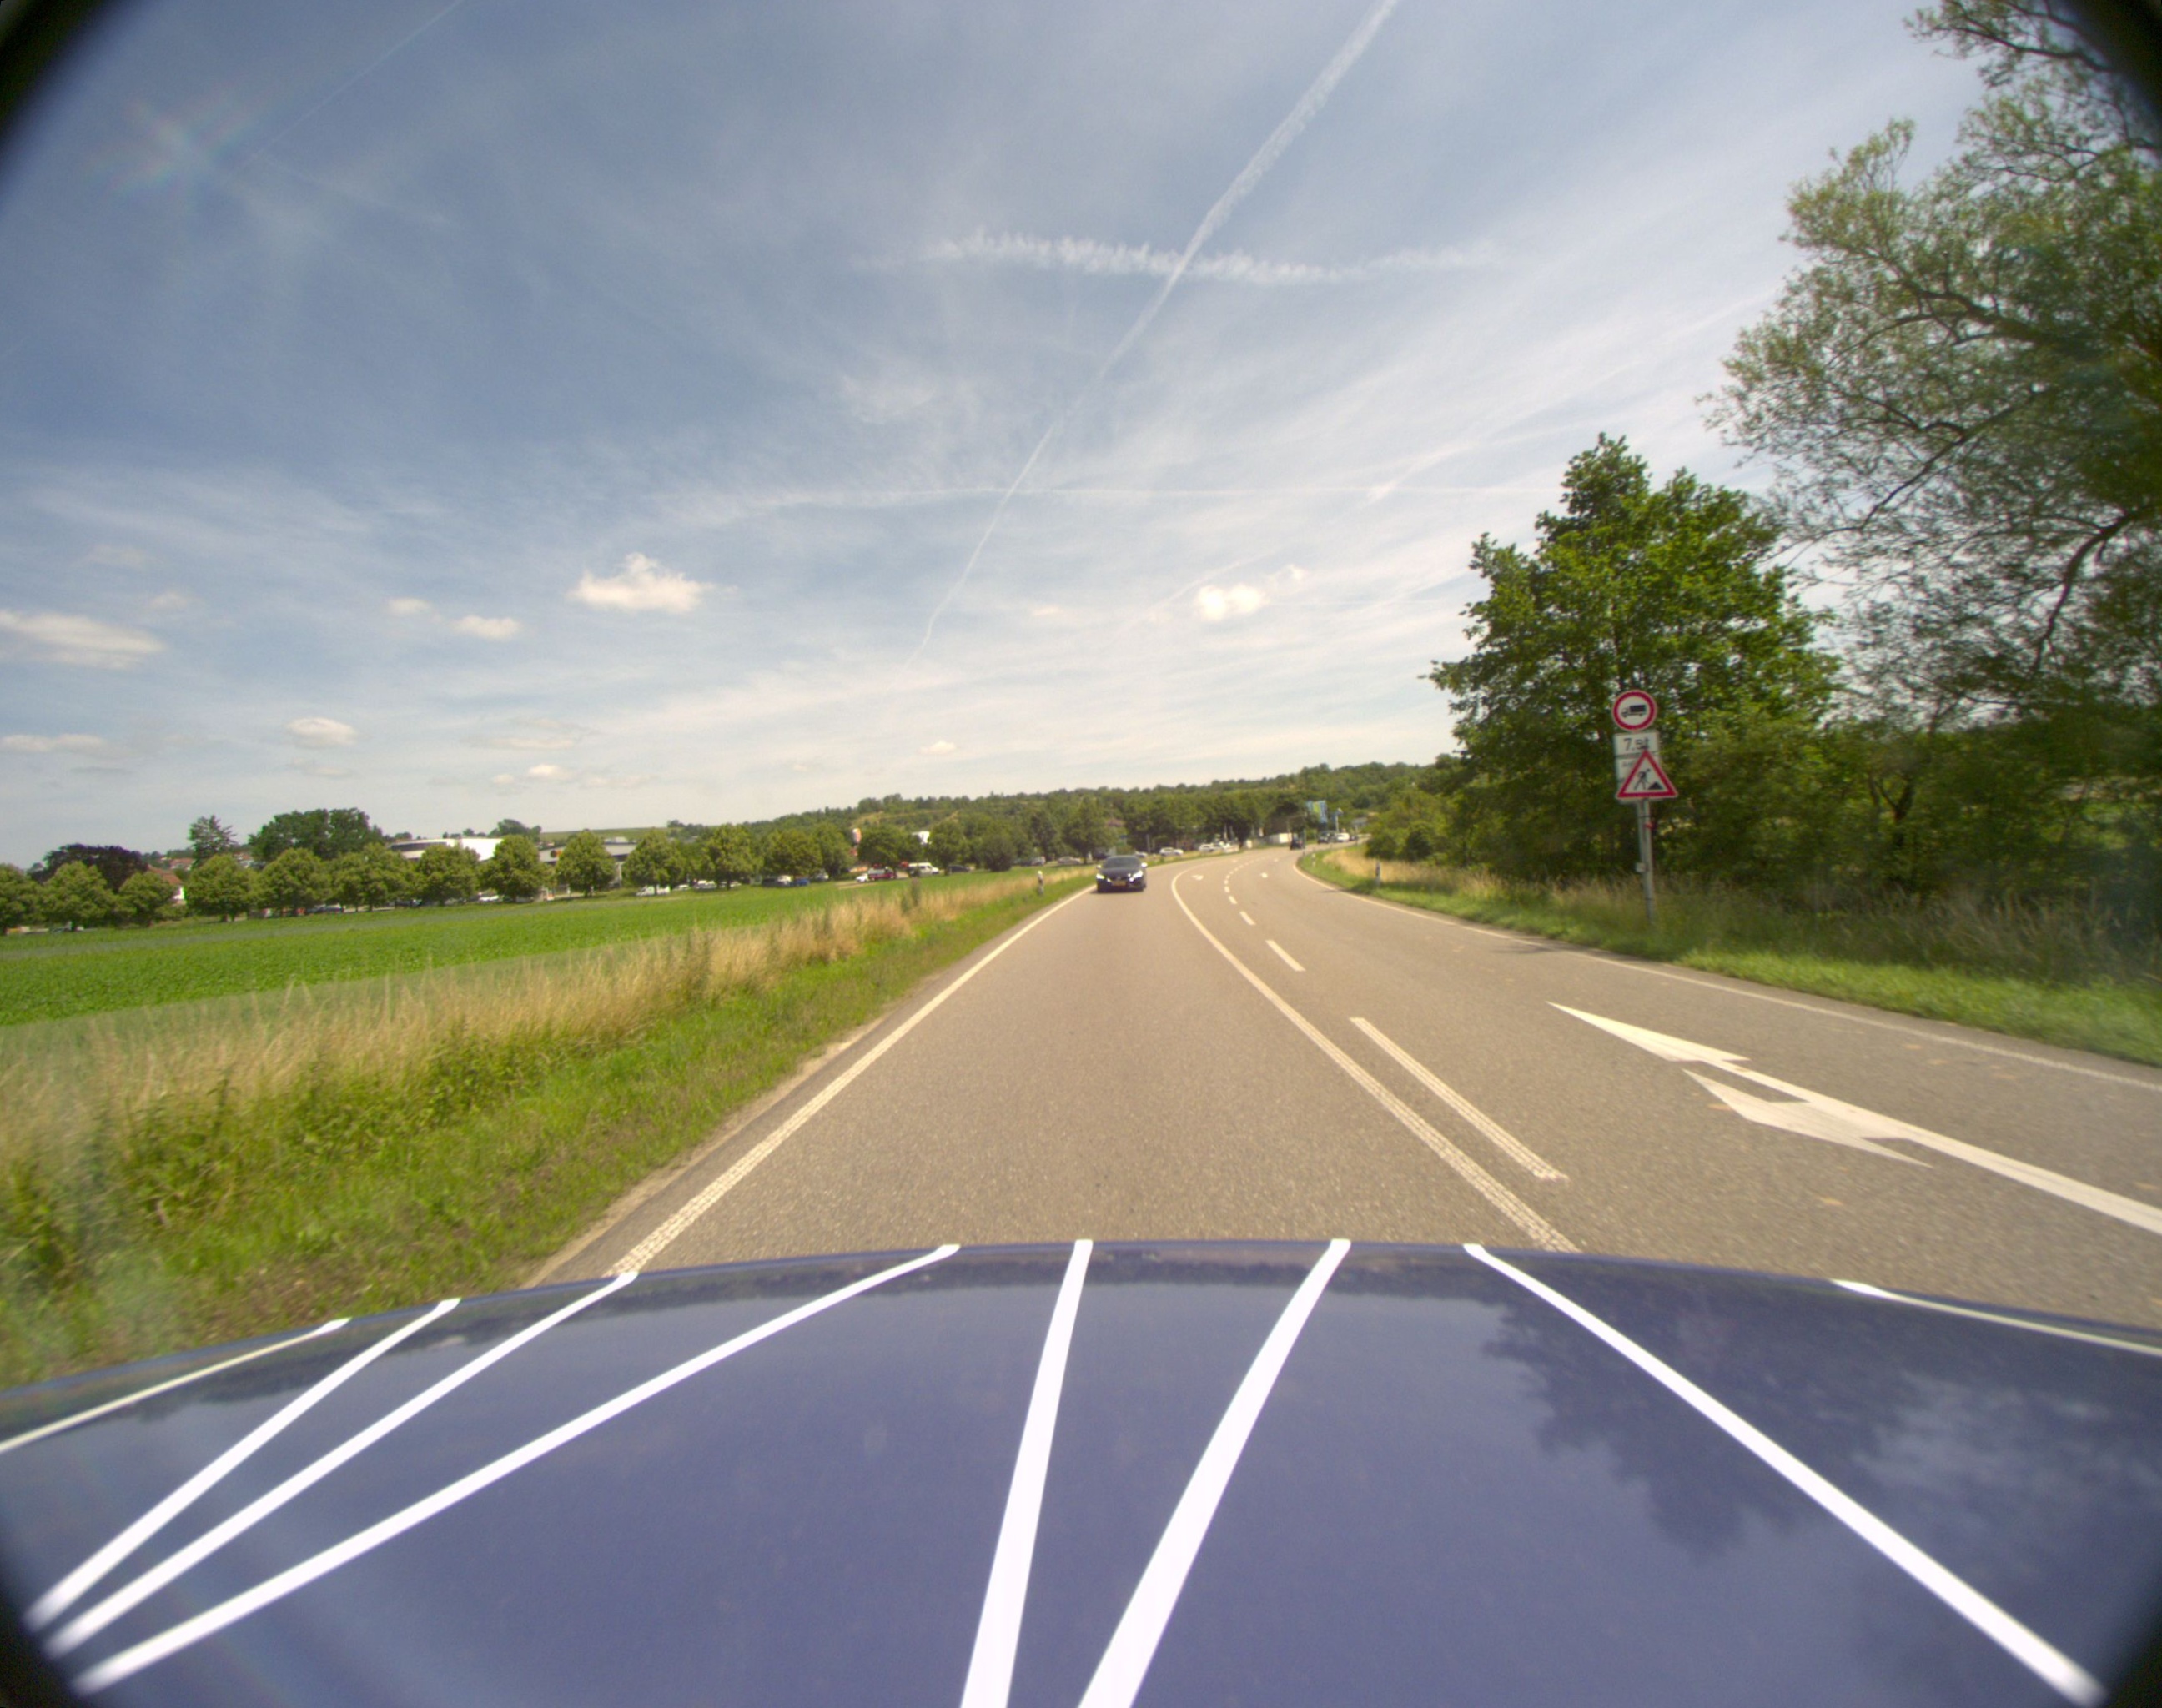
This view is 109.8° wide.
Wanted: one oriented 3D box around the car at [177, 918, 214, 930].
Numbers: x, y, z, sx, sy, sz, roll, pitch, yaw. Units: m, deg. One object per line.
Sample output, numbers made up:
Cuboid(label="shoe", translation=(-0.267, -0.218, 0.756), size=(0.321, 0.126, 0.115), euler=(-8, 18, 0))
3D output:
Cuboid(label="car", translation=(-159.837, 12.587, 137.131), size=(3.998, 1.640, 1.999), euler=(-5, 2, -3))

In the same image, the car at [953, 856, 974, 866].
Cuboid(label="car", translation=(-24.366, 1.448, 157.855), size=(4.001, 1.814, 1.820), euler=(-5, 2, -13))

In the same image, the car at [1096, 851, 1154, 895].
Cuboid(label="car", translation=(1.833, 0.700, 30.241), size=(1.782, 1.484, 4.160), euler=(-2, 1, 10))

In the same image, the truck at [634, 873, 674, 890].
Cuboid(label="truck", translation=(-81.059, 5.243, 144.284), size=(5.940, 2.723, 2.071), euler=(-4, 3, -3))

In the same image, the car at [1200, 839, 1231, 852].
Cuboid(label="car", translation=(22.502, -1.406, 127.270), size=(4.629, 1.598, 2.001), euler=(-4, 3, 36))

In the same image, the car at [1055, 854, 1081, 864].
Cuboid(label="car", translation=(-2.397, 0.954, 141.207), size=(4.557, 1.502, 1.801), euler=(-5, 2, 4))

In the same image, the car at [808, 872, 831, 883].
Cuboid(label="car", translation=(-55.323, 4.925, 160.580), size=(3.996, 1.814, 1.822), euler=(-5, 2, 2))

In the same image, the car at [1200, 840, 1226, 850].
Cuboid(label="car", translation=(23.308, -1.647, 133.896), size=(3.963, 1.411, 1.831), euler=(-3, 2, 30))

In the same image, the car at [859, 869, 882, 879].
Cuboid(label="car", translation=(-41.807, 4.000, 150.744), size=(1.873, 1.550, 4.505), euler=(-4, 2, 22))

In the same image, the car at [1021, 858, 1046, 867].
Cuboid(label="car", translation=(-8.926, 1.526, 142.326), size=(4.558, 1.266, 1.800), euler=(-5, 2, 0))

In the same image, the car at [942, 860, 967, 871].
Cuboid(label="car", translation=(-24.709, 2.313, 148.547), size=(4.524, 1.683, 1.866), euler=(-4, 2, -2))

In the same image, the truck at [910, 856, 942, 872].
Cuboid(label="truck", translation=(-28.907, 1.817, 141.804), size=(5.636, 2.353, 2.052), euler=(-5, 2, -6))

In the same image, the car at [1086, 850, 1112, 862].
Cuboid(label="car", translation=(3.378, 0.388, 140.309), size=(4.557, 1.502, 1.800), euler=(-6, 4, 5))

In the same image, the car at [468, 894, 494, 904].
Cuboid(label="car", translation=(-128.077, 9.570, 162.283), size=(3.996, 1.620, 1.743), euler=(-5, 2, 2))

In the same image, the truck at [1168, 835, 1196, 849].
Cuboid(label="truck", translation=(23.035, -2.760, 173.013), size=(6.156, 2.603, 2.258), euler=(-5, 1, -29))

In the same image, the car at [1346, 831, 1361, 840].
Cuboid(label="car", translation=(57.152, -3.905, 159.128), size=(1.806, 1.723, 4.007), euler=(-3, 1, 35))

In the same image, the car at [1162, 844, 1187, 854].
Cuboid(label="car", translation=(16.821, -0.890, 136.670), size=(4.098, 1.411, 1.802), euler=(-4, 3, 17))

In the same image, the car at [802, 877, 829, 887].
Cuboid(label="car", translation=(-50.644, 5.347, 145.003), size=(4.383, 1.549, 1.785), euler=(-3, -1, 4))

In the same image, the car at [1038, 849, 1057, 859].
Cuboid(label="car", translation=(-7.049, 0.046, 159.418), size=(3.998, 1.814, 1.822), euler=(-4, 1, -3))

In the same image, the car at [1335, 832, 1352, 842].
Cuboid(label="car", translation=(52.900, -3.411, 153.085), size=(1.805, 1.723, 4.006), euler=(-3, 3, 40))

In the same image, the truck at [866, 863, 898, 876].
Cuboid(label="truck", translation=(-36.863, 2.864, 140.935), size=(5.473, 1.965, 1.799), euler=(-5, 2, -5))

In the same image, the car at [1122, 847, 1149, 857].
Cuboid(label="car", translation=(9.940, -0.306, 138.944), size=(4.553, 1.501, 1.803), euler=(-4, 1, 17))

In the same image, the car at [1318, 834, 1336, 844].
Cuboid(label="car", translation=(47.308, -2.872, 146.249), size=(1.805, 1.723, 4.006), euler=(-3, 3, 40))

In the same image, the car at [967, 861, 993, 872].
Cuboid(label="car", translation=(-18.916, 2.328, 142.427), size=(4.288, 1.688, 1.999), euler=(-5, 2, 0))

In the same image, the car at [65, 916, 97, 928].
Cuboid(label="car", translation=(-191.993, 13.125, 145.894), size=(3.995, 1.790, 1.877), euler=(-4, 2, 9))

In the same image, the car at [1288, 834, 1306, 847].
Cuboid(label="car", translation=(33.236, -2.092, 116.790), size=(1.772, 1.649, 4.006), euler=(-2, 2, 29))
